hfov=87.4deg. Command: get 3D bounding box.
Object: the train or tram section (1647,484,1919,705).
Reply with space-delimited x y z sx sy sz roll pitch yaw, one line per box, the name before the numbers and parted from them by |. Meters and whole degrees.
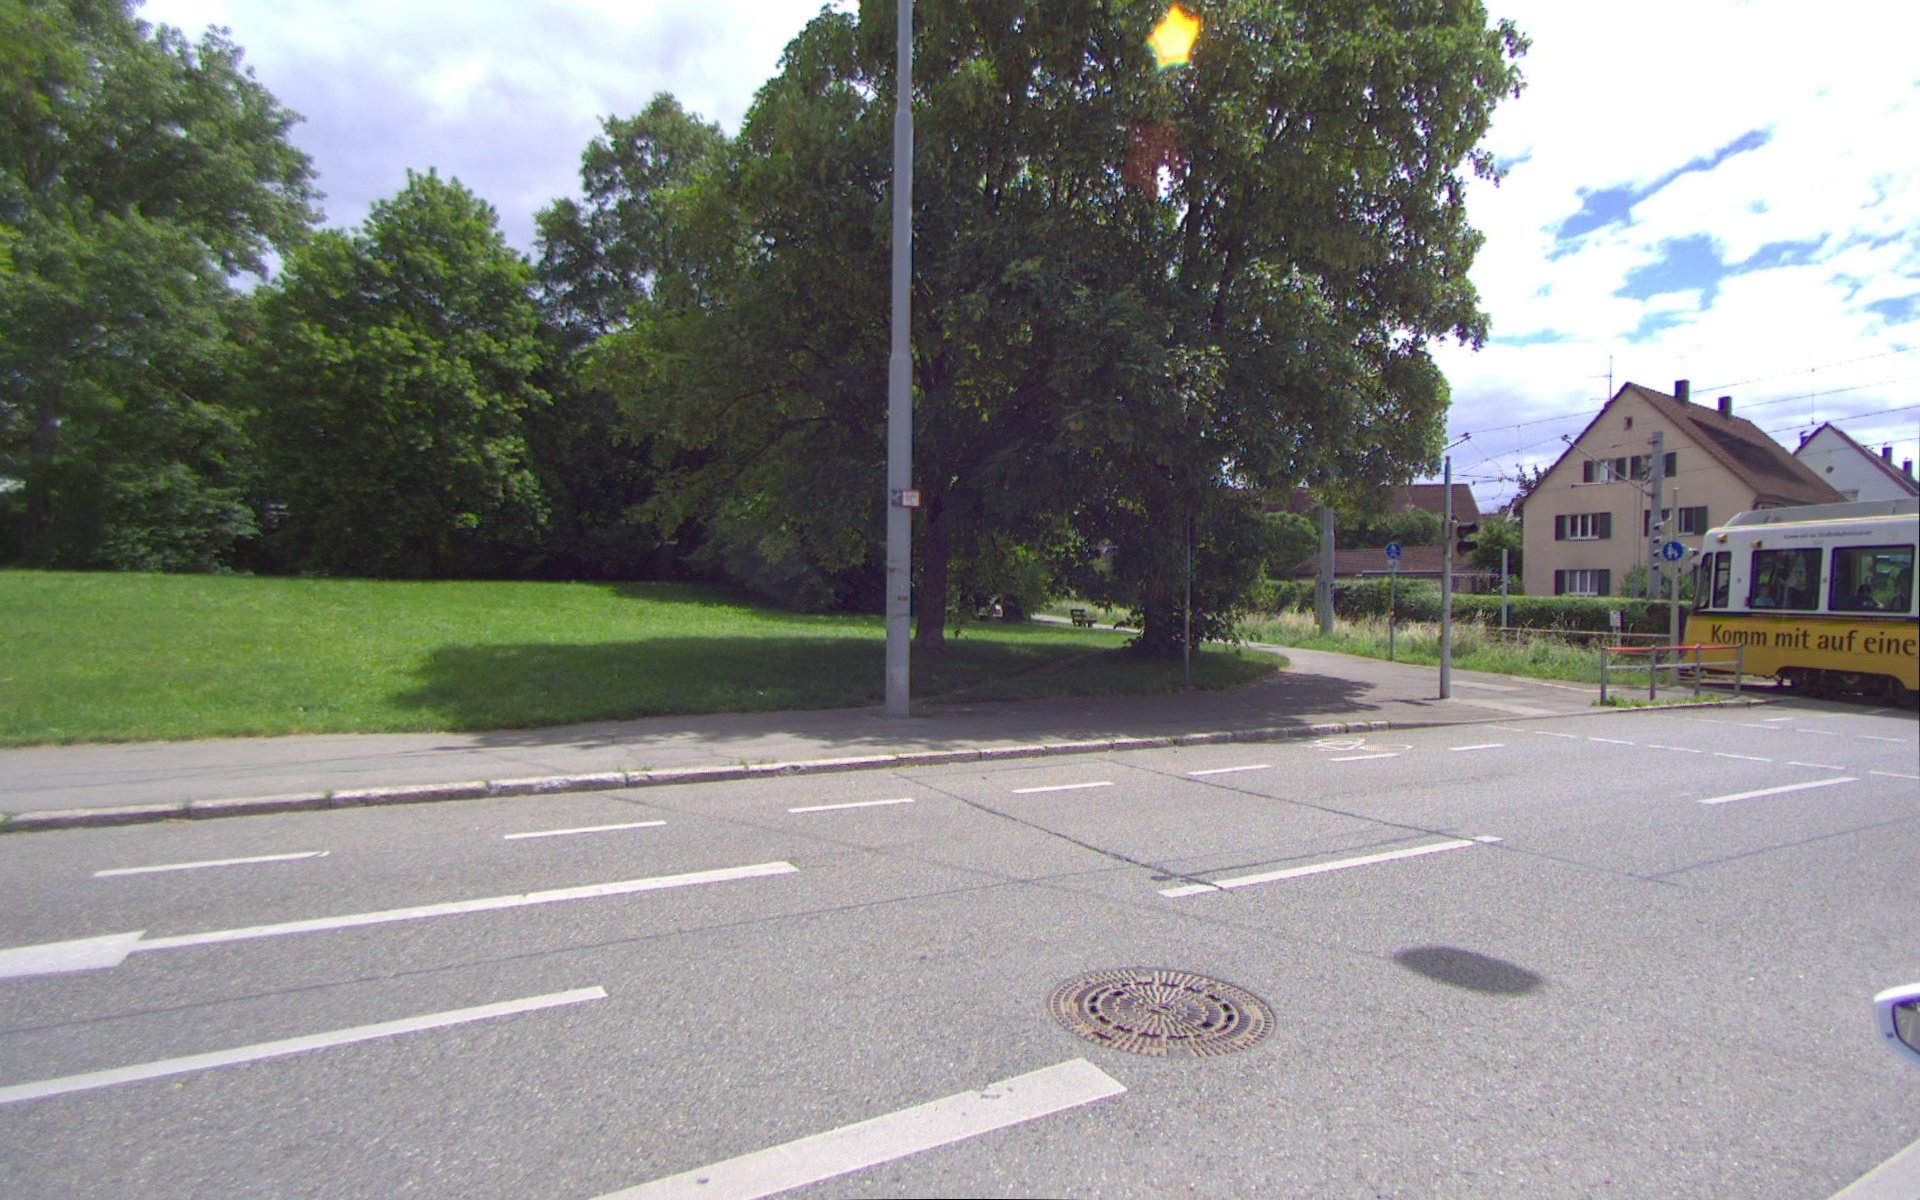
train or tram section | 17.567 -0.095 19.211 2.816 3.772 7.707 2 1 -7
